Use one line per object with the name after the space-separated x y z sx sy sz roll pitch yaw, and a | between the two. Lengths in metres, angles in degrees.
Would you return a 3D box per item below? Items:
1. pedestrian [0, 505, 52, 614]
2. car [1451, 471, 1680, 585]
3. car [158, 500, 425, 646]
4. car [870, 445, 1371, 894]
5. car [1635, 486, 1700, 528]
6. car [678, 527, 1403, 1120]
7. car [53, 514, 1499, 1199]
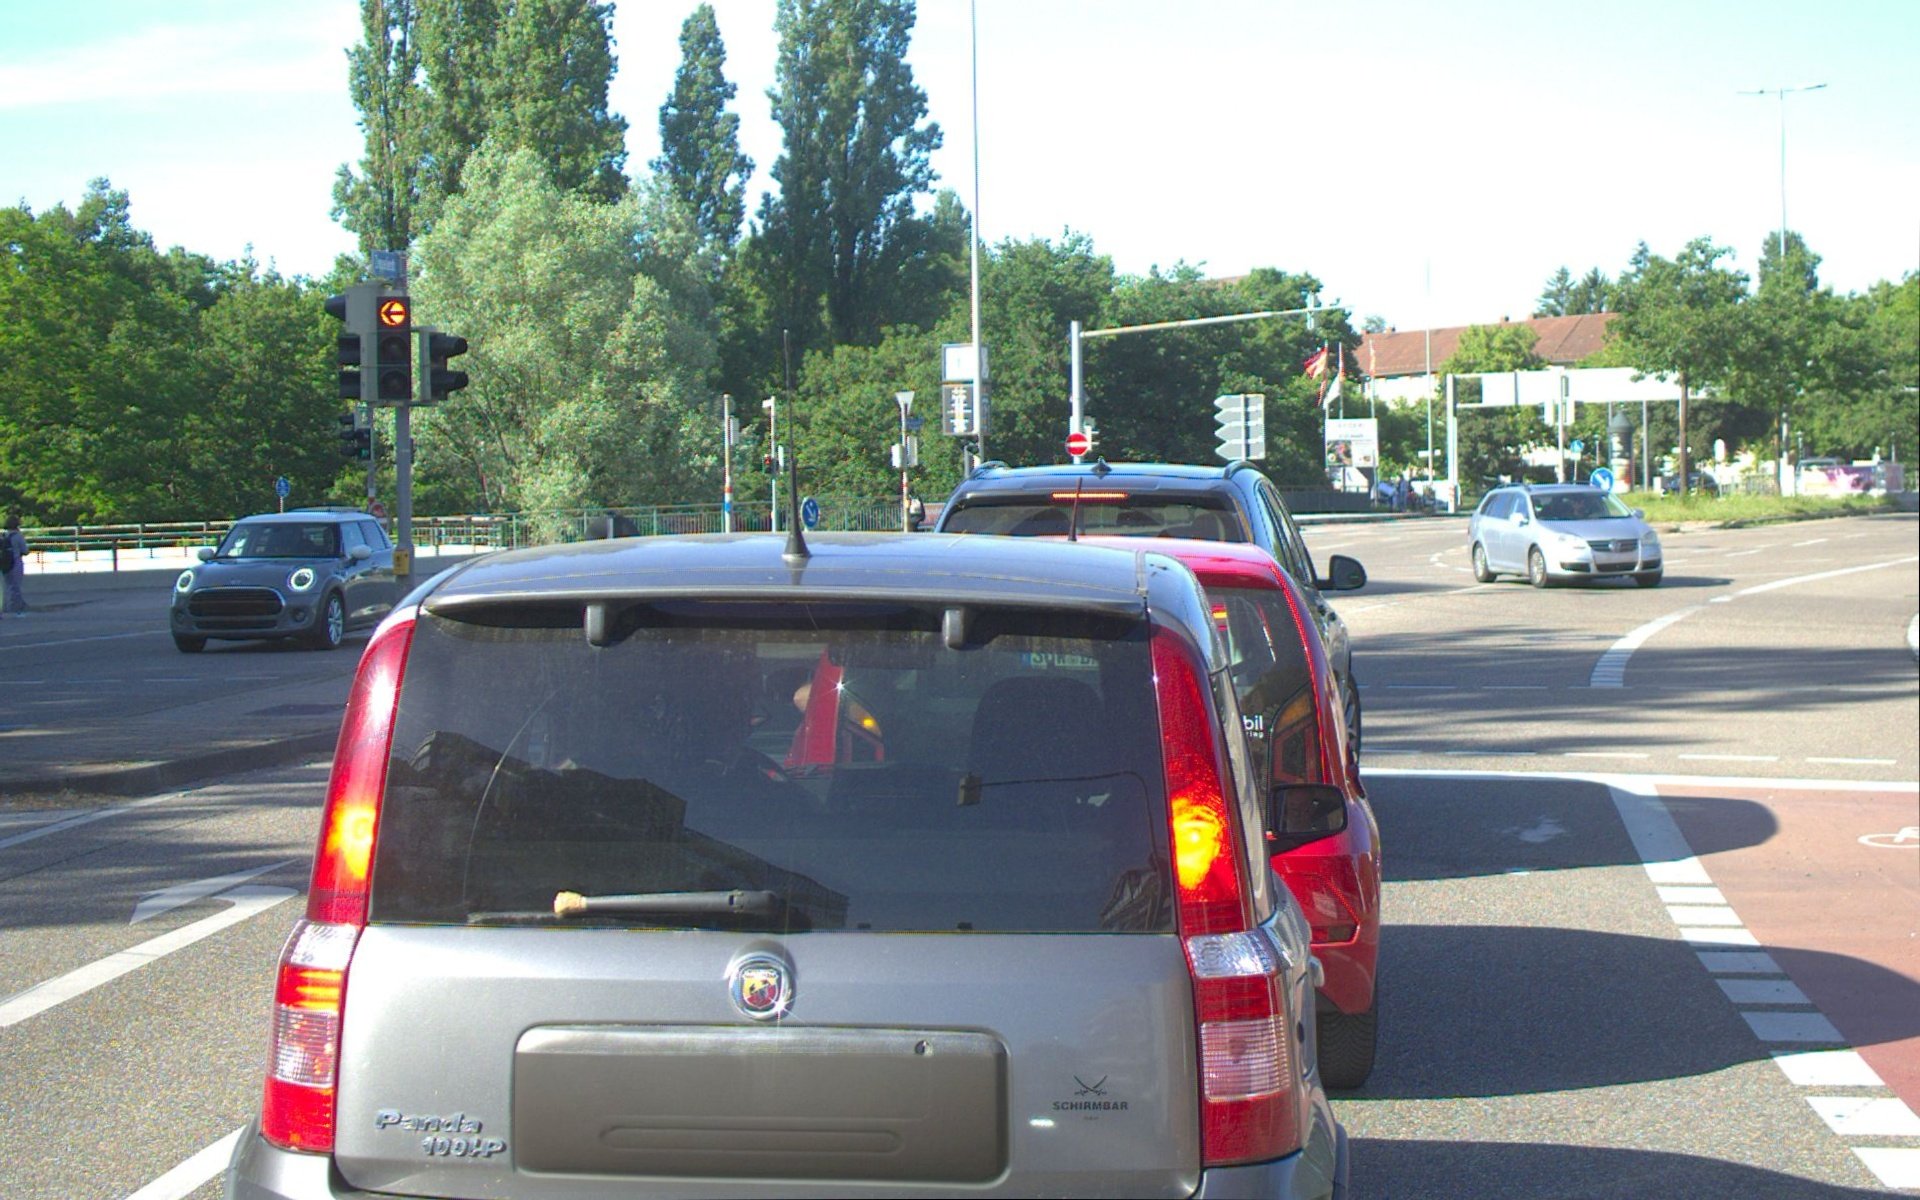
-13.973 -0.591 50.975 0.686 1.533 1.366 0 -3 -3 | pedestrian
8.556 -1.062 48.962 1.750 1.488 4.351 -1 3 -11 | car
-7.142 -0.329 37.089 1.686 1.452 3.913 -1 2 7 | car
0.898 0.199 16.093 1.869 1.784 4.413 1 2 9 | car
33.937 -4.451 164.741 2.016 1.848 4.424 0 -1 26 | car
0.280 0.522 10.718 1.820 1.474 4.000 1 1 2 | car
-0.145 0.616 6.362 1.820 1.484 4.000 2 2 3 | car
